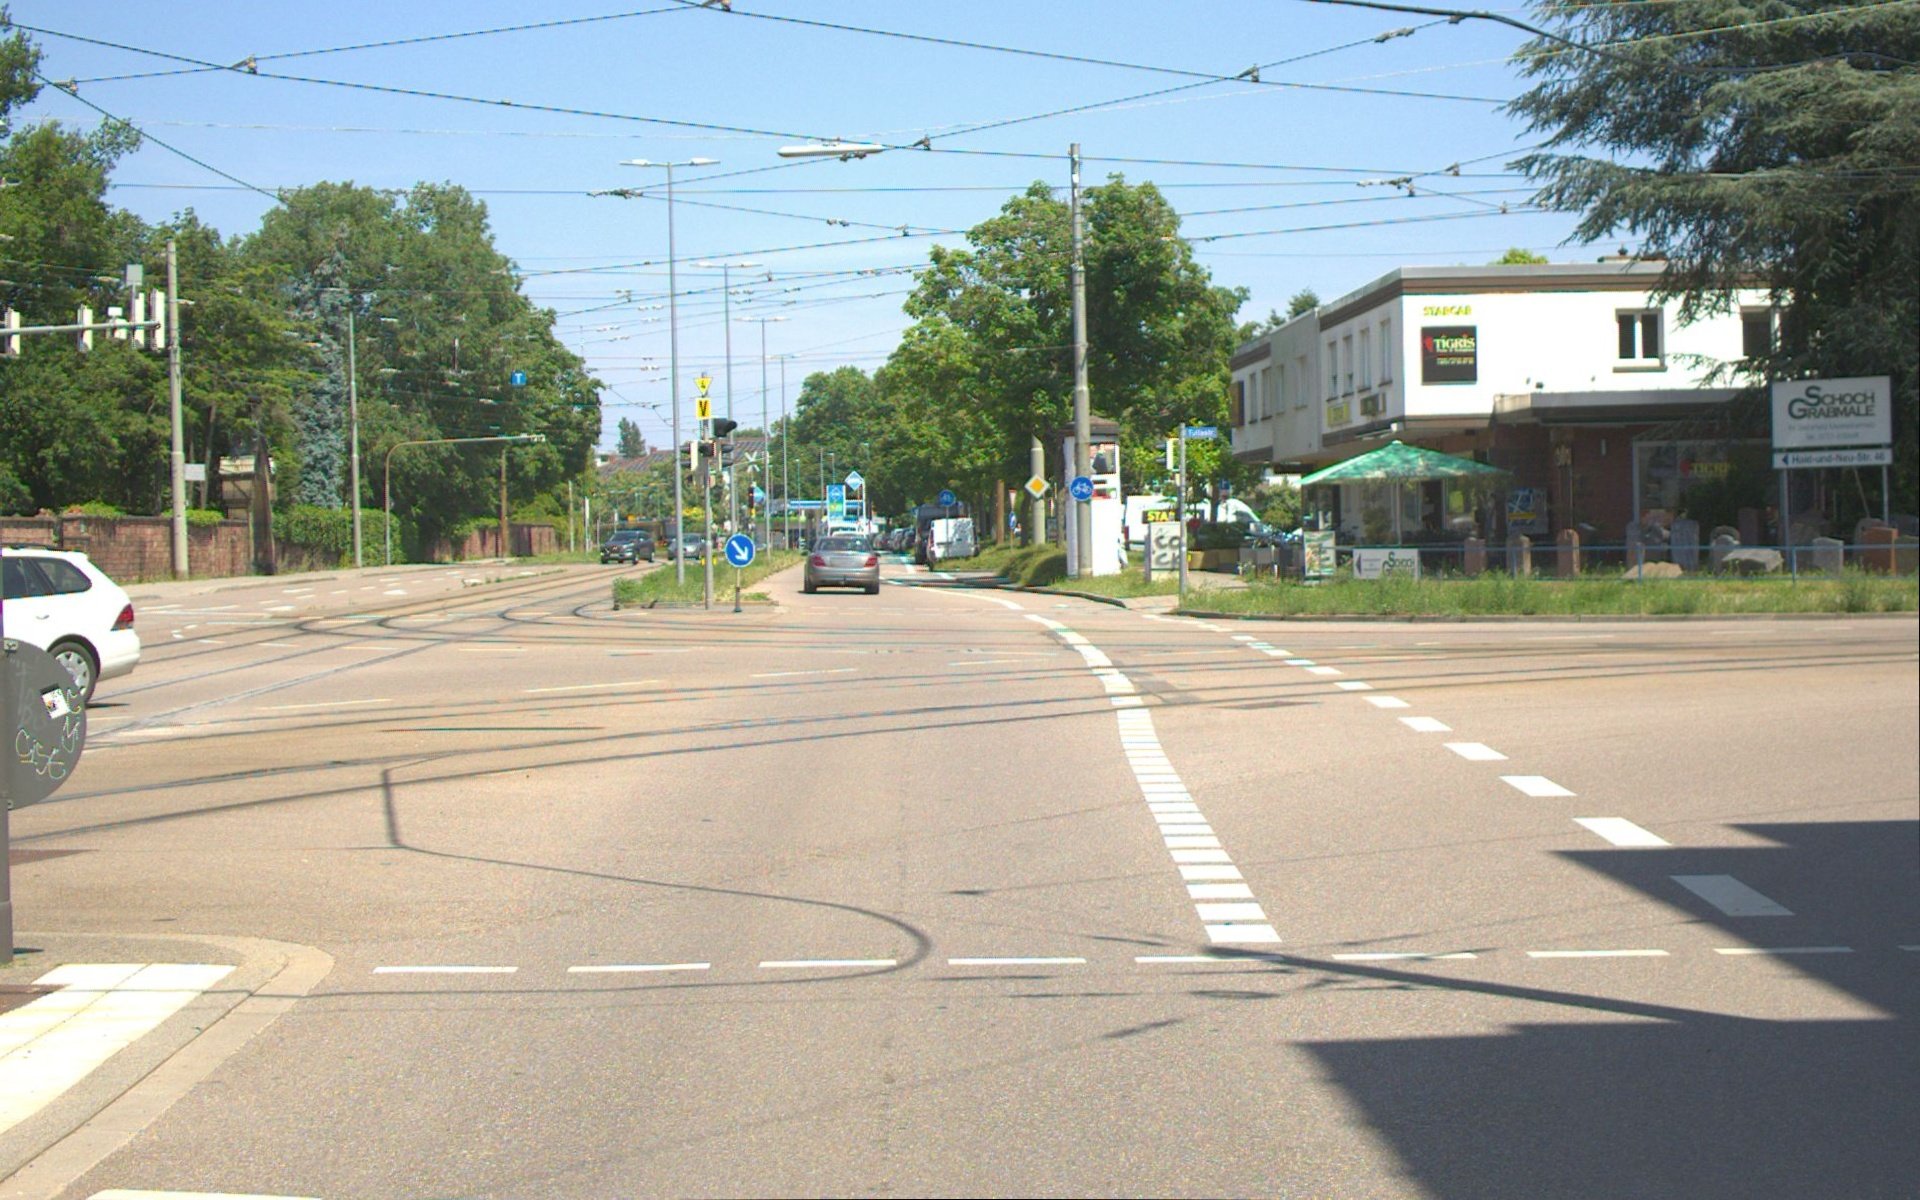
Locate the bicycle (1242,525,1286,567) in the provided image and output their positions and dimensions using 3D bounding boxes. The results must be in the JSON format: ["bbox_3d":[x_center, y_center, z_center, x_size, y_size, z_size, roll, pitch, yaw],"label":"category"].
[{"bbox_3d":[7.472,-1.333,84.503,1.034,1.011,2.636,-1,1,6],"label":"bicycle"}]

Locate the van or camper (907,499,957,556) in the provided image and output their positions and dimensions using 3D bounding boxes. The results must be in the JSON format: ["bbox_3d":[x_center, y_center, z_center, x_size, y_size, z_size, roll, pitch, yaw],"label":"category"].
[{"bbox_3d":[-1.258,-3.221,152.838,1.993,2.456,4.001,-1,1,-4],"label":"van or camper"}]

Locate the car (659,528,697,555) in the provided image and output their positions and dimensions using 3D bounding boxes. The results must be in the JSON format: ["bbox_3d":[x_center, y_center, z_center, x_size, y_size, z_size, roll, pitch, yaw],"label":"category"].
[{"bbox_3d":[-15.251,-3.160,185.892,1.641,1.416,4.168,-1,1,1],"label":"car"}]

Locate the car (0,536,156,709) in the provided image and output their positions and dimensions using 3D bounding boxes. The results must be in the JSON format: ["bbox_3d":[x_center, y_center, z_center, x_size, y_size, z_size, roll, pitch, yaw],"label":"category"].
[{"bbox_3d":[-9.336,0.216,29.898,1.821,1.484,4.490,0,2,35],"label":"car"}]

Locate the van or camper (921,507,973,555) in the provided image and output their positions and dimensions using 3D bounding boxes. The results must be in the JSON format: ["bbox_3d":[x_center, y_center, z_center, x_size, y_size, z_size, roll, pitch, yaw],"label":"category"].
[{"bbox_3d":[-0.500,-2.614,130.372,1.922,1.766,4.000,-1,1,-1],"label":"van or camper"}]

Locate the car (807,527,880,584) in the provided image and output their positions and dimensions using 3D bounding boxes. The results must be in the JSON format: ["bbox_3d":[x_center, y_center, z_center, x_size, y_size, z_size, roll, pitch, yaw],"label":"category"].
[{"bbox_3d":[-2.903,-1.114,84.984,1.636,1.346,3.843,-1,1,-4],"label":"car"}]

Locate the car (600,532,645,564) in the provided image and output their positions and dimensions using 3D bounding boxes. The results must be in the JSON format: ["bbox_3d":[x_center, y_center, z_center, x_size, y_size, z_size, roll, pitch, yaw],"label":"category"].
[{"bbox_3d":[-17.149,-2.651,174.788,1.820,1.598,4.520,-1,1,0],"label":"car"}]

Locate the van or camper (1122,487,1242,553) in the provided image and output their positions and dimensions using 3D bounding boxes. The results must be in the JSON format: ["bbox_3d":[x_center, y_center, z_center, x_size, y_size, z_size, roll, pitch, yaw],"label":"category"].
[{"bbox_3d":[9.246,-3.347,143.390,4.756,2.662,2.136,-1,1,-3],"label":"van or camper"}]
